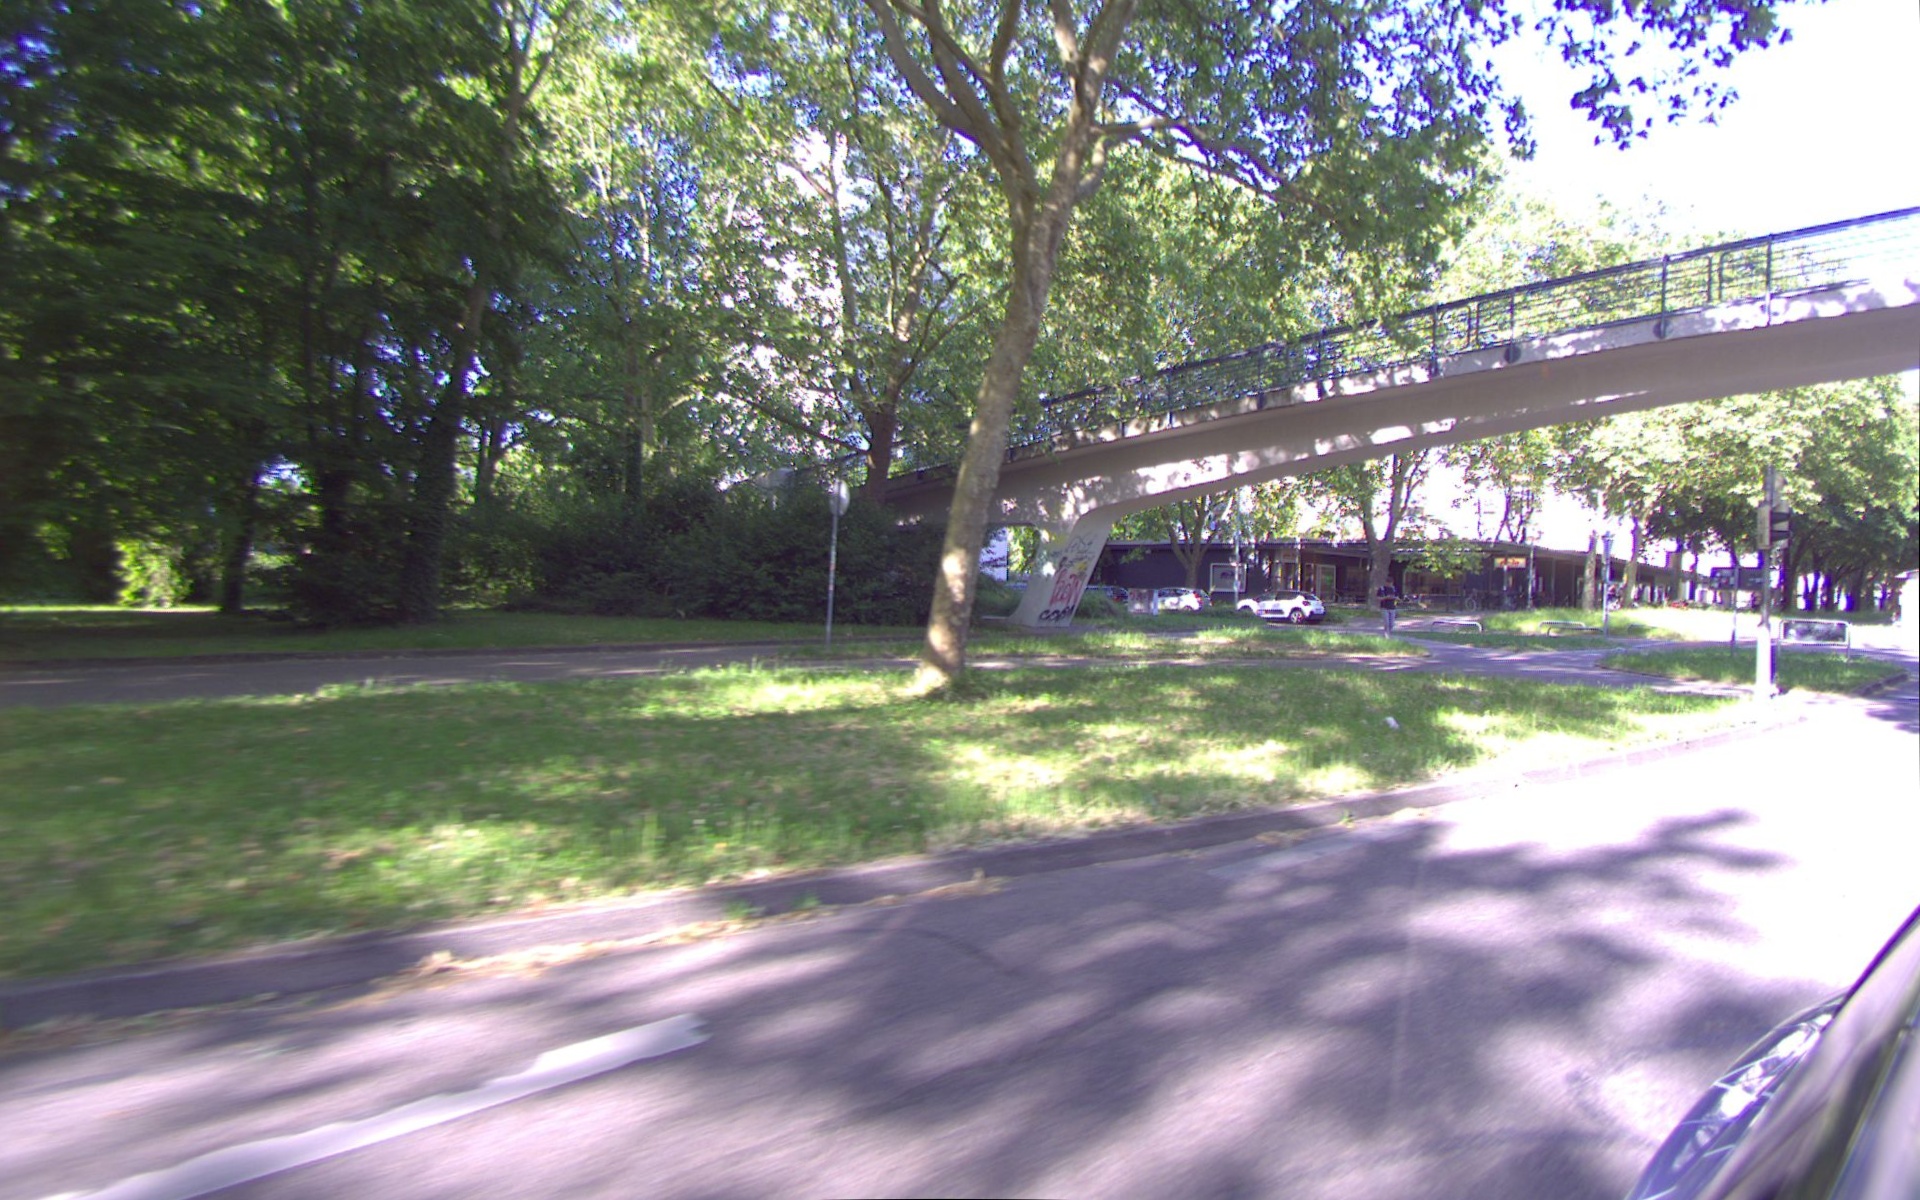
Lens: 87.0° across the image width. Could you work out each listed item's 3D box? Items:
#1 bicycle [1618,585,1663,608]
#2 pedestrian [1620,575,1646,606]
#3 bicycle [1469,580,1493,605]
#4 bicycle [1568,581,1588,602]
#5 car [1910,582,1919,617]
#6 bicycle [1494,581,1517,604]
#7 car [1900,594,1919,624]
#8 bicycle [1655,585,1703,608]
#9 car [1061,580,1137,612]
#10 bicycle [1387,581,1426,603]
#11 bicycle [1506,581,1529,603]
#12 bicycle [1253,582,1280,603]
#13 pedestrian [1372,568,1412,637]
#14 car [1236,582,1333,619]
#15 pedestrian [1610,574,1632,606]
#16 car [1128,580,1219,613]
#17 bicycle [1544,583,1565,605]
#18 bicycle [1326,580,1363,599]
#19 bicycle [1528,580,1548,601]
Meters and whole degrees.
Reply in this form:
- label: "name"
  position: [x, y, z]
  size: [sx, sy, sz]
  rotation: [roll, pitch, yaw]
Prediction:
- label: "bicycle"
  position: [38.482, -0.215, 57.290]
  size: [0.550, 1.172, 2.077]
  rotation: [1, 2, -26]
- label: "pedestrian"
  position: [37.974, -0.556, 57.077]
  size: [1.126, 1.729, 0.722]
  rotation: [2, 2, 41]
- label: "bicycle"
  position: [27.669, -0.399, 53.709]
  size: [1.775, 1.269, 0.576]
  rotation: [-1, 0, -43]
- label: "bicycle"
  position: [37.492, -0.507, 61.383]
  size: [1.775, 1.269, 0.576]
  rotation: [-1, 0, -43]
- label: "car"
  position: [53.307, 0.066, 53.697]
  size: [3.881, 1.865, 1.767]
  rotation: [2, 2, 4]
- label: "bicycle"
  position: [30.461, -0.440, 56.483]
  size: [1.775, 1.269, 0.576]
  rotation: [-1, 0, -43]
- label: "car"
  position: [50.167, 0.530, 51.058]
  size: [3.762, 1.490, 1.517]
  rotation: [2, 2, 6]
- label: "bicycle"
  position: [39.082, -0.197, 54.991]
  size: [2.064, 1.172, 0.554]
  rotation: [3, 2, 39]
- label: "car"
  position: [7.087, -0.208, 51.938]
  size: [3.577, 1.515, 1.598]
  rotation: [1, -1, 42]
- label: "bicycle"
  position: [24.270, -0.453, 55.031]
  size: [1.800, 1.129, 0.700]
  rotation: [3, 3, 43]
- label: "bicycle"
  position: [31.913, -0.461, 57.923]
  size: [1.775, 1.269, 0.576]
  rotation: [-1, 0, -43]
- label: "bicycle"
  position: [16.662, -0.427, 54.968]
  size: [0.504, 0.971, 2.163]
  rotation: [3, 5, 42]
- label: "pedestrian"
  position: [11.689, 0.062, 27.366]
  size: [0.725, 1.800, 0.660]
  rotation: [2, 0, -3]
- label: "car"
  position: [14.324, -0.001, 44.812]
  size: [1.680, 1.515, 3.733]
  rotation: [3, -1, -43]
- label: "pedestrian"
  position: [39.264, -0.571, 60.104]
  size: [0.963, 1.863, 0.939]
  rotation: [2, 2, 40]
- label: "car"
  position: [10.325, -0.177, 49.014]
  size: [3.965, 1.515, 1.644]
  rotation: [1, -1, 39]
- label: "bicycle"
  position: [34.056, -0.342, 57.976]
  size: [1.775, 1.269, 0.576]
  rotation: [-1, 0, -43]
- label: "bicycle"
  position: [21.825, -0.604, 57.426]
  size: [1.800, 0.966, 0.700]
  rotation: [5, 4, 42]
- label: "bicycle"
  position: [34.951, -0.571, 61.192]
  size: [1.775, 1.269, 0.576]
  rotation: [-1, 0, -43]
